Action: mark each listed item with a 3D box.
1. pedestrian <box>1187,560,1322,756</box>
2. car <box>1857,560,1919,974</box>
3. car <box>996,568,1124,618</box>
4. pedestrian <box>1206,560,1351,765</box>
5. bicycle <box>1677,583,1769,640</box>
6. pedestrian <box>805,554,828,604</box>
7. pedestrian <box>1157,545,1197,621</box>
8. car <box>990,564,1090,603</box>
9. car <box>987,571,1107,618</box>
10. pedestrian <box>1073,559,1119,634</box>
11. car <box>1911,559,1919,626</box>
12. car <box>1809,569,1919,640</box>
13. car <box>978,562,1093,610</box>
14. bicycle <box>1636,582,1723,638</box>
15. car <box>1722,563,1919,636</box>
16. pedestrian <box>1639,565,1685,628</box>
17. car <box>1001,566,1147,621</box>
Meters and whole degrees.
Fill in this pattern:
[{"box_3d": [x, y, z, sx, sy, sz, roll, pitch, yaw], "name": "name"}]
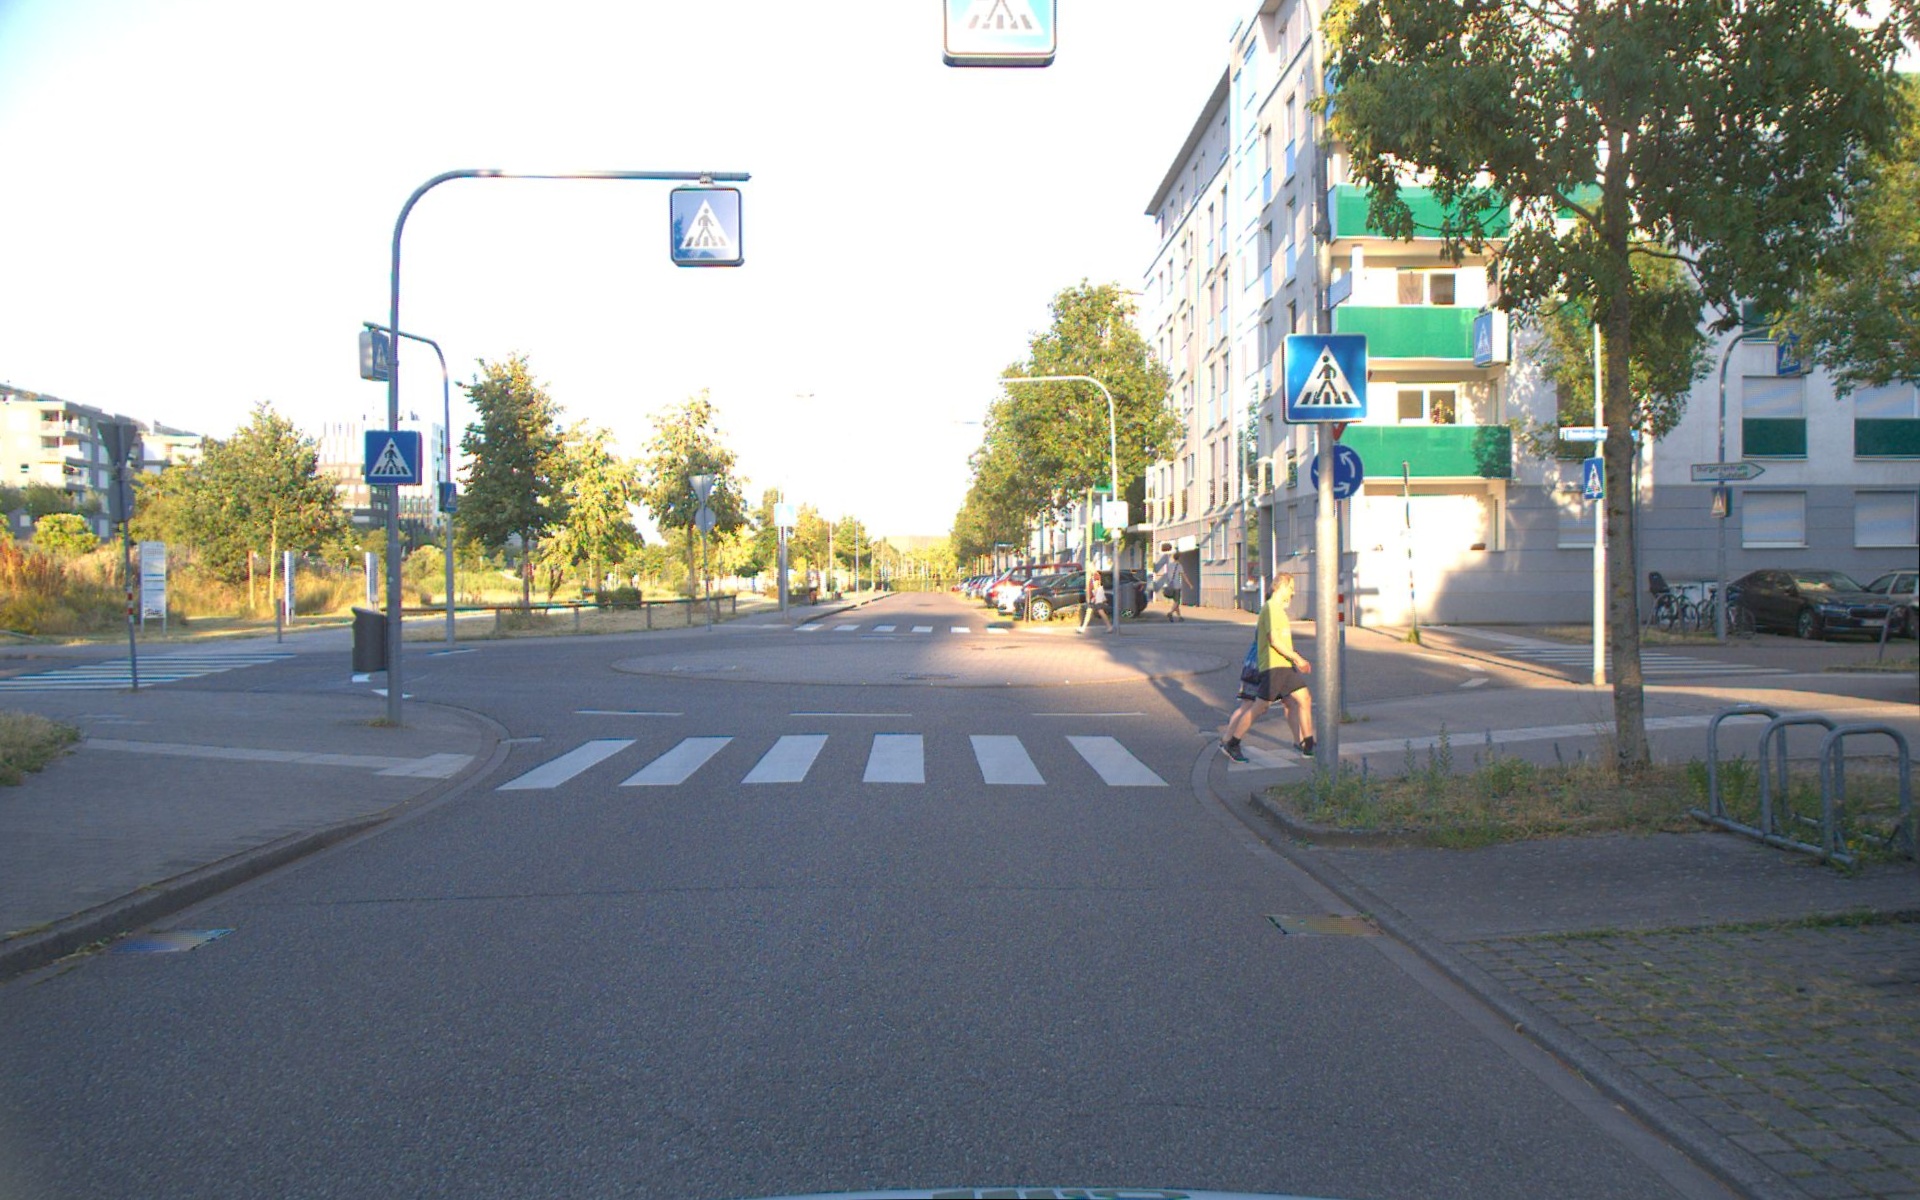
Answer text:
[{"box_3d": [2.740, 0.520, 15.433, 0.966, 1.722, 0.698, -4, 1, -13], "name": "pedestrian"}, {"box_3d": [5.412, 0.589, 5.702, 3.725, 1.535, 1.679, -1, 0, -1], "name": "car"}, {"box_3d": [3.375, -0.257, 56.408, 4.266, 1.624, 2.000, -1, 1, 0], "name": "car"}, {"box_3d": [2.824, 0.530, 14.718, 1.001, 1.722, 0.757, -3, 1, -12], "name": "pedestrian"}, {"box_3d": [16.372, 0.218, 35.545, 0.674, 1.171, 2.520, -1, 1, -4], "name": "bicycle"}, {"box_3d": [-5.990, -0.871, 69.165, 0.851, 2.049, 0.787, -1, 0, -12], "name": "pedestrian"}, {"box_3d": [6.002, -0.471, 45.733, 0.922, 2.049, 0.848, -1, 0, -5], "name": "pedestrian"}, {"box_3d": [3.417, -0.701, 71.365, 4.177, 1.624, 1.999, -1, 1, -2], "name": "car"}, {"box_3d": [3.084, -0.214, 59.136, 4.176, 1.624, 2.000, -1, 1, 0], "name": "car"}, {"box_3d": [3.391, -0.090, 41.156, 0.984, 1.819, 0.761, 1, 0, -8], "name": "pedestrian"}, {"box_3d": [23.665, -0.167, 37.008, 1.954, 1.580, 4.591, -1, 1, -3], "name": "car"}, {"box_3d": [21.113, 0.063, 36.754, 1.954, 1.478, 4.591, -1, 1, -3], "name": "car"}, {"box_3d": [3.378, -0.635, 74.420, 4.906, 2.081, 2.248, -1, 1, -6], "name": "car"}, {"box_3d": [15.601, 0.195, 35.923, 0.682, 1.171, 2.459, -1, 1, -4], "name": "bicycle"}, {"box_3d": [18.817, -0.045, 36.240, 1.954, 1.478, 4.591, -1, 1, -3], "name": "car"}, {"box_3d": [15.555, -0.090, 36.684, 0.644, 1.379, 0.802, -1, 0, -4], "name": "pedestrian"}, {"box_3d": [3.488, -0.200, 51.259, 4.392, 1.624, 2.000, -1, 1, 0], "name": "car"}]
